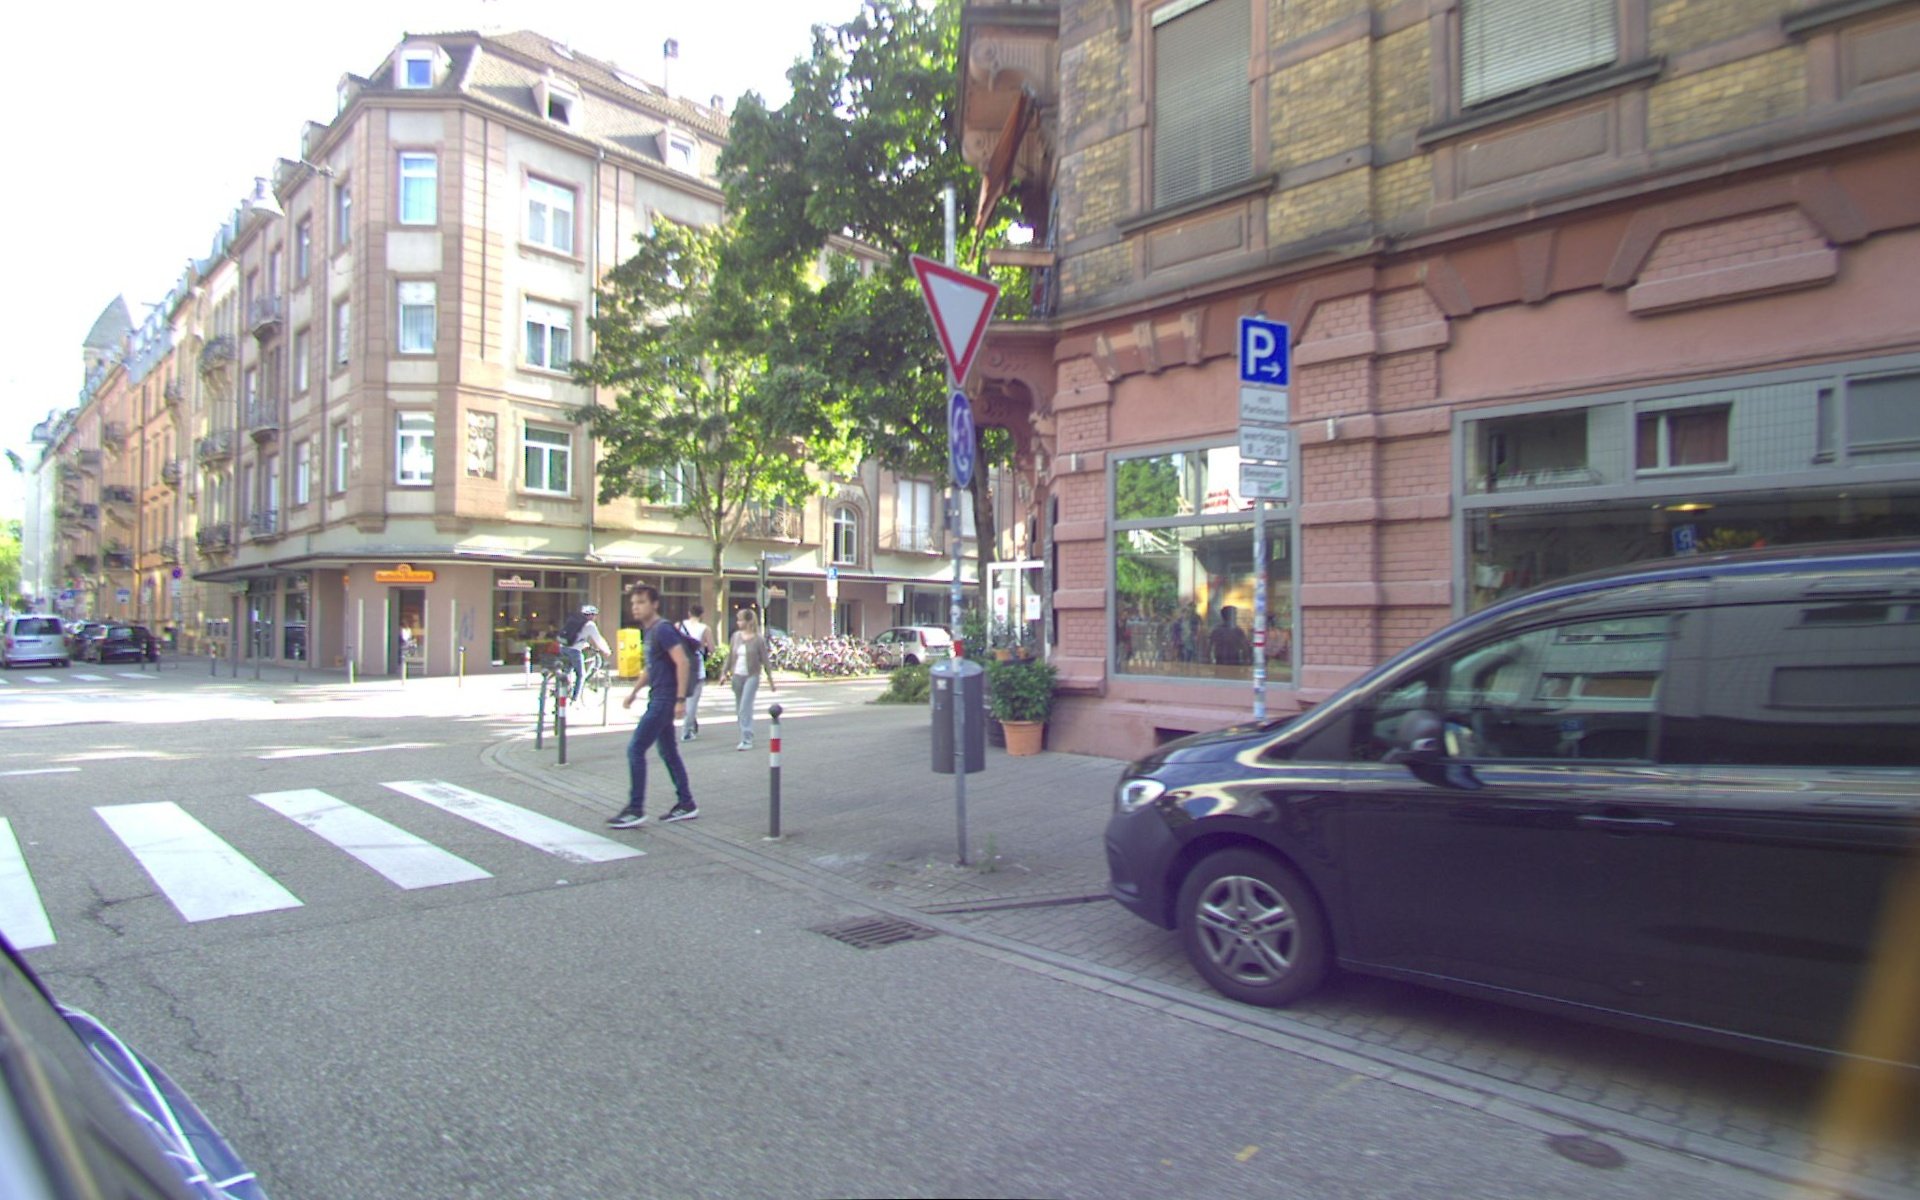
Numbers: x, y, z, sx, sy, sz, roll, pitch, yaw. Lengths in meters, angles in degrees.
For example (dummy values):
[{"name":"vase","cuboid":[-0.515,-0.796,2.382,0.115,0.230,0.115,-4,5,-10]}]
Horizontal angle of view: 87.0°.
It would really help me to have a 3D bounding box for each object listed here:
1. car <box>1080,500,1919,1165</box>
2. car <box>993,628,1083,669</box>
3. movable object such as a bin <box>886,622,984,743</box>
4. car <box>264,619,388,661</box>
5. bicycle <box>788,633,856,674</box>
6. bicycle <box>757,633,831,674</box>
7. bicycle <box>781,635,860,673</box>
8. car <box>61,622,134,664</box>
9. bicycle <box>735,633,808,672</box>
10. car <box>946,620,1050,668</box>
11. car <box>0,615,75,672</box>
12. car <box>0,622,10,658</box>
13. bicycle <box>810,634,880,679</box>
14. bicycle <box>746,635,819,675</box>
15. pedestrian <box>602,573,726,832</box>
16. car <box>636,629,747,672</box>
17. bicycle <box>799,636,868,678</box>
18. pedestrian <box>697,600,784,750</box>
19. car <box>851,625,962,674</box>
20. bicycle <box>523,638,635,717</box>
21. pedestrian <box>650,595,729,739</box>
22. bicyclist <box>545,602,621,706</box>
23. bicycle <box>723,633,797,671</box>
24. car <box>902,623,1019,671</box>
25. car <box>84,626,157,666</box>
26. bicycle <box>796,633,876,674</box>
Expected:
[{"name":"car","cuboid":[2.769,0.624,3.714,4.405,1.787,1.741,-2,0,42]},{"name":"car","cuboid":[2.935,1.835,38.577,3.340,1.454,1.357,-2,-1,45]},{"name":"movable object such as a bin","cuboid":[-0.157,0.503,6.389,0.475,0.719,0.379,-2,-1,39]},{"name":"car","cuboid":[-26.521,1.647,42.412,1.995,1.633,3.953,-2,-1,35]},{"name":"bicycle","cuboid":[-4.026,1.540,29.657,0.478,1.143,2.233,-1,-2,41]},{"name":"bicycle","cuboid":[-4.900,1.566,30.036,0.478,1.143,2.398,-1,-2,41]},{"name":"bicycle","cuboid":[-4.206,1.626,30.734,0.708,1.110,2.477,-3,-4,43]},{"name":"car","cuboid":[-35.150,1.702,41.210,4.400,1.596,1.836,-1,-1,44]},{"name":"bicycle","cuboid":[-5.692,1.563,30.739,0.478,1.143,2.398,-1,-2,41]},{"name":"car","cuboid":[1.338,1.578,36.854,3.700,1.608,1.554,-2,-1,45]},{"name":"car","cuboid":[-32.135,1.508,34.992,4.330,1.804,1.809,-3,-1,42]},{"name":"car","cuboid":[-46.129,1.929,47.576,1.971,1.647,4.846,2,-4,-45]},{"name":"bicycle","cuboid":[-3.262,1.603,28.950,0.478,1.234,2.262,-1,-2,41]},{"name":"bicycle","cuboid":[-5.291,1.638,30.380,0.478,1.143,2.398,-1,-2,41]},{"name":"pedestrian","cuboid":[-2.254,0.725,7.706,0.843,1.854,0.681,-1,1,-18]},{"name":"car","cuboid":[-9.824,1.827,37.002,3.990,1.441,1.746,-2,-1,34]},{"name":"bicycle","cuboid":[-3.630,1.623,29.297,0.478,1.166,2.260,-1,-2,41]},{"name":"pedestrian","cuboid":[-2.440,0.820,11.299,0.609,1.590,0.807,-4,-2,12]},{"name":"car","cuboid":[-1.814,1.597,33.261,3.700,1.488,1.554,-2,-1,45]},{"name":"bicycle","cuboid":[-6.397,1.271,17.137,0.696,1.229,2.107,0,-2,13]},{"name":"pedestrian","cuboid":[-3.285,0.791,12.394,0.792,1.683,1.024,0,-1,-6]},{"name":"bicyclist","cuboid":[-6.381,0.900,17.179,0.696,1.690,1.107,0,-2,13]},{"name":"bicycle","cuboid":[-6.124,1.581,31.118,0.579,1.143,2.398,-1,-2,41]},{"name":"car","cuboid":[-0.032,1.578,34.671,4.076,1.488,1.554,-2,-1,45]},{"name":"car","cuboid":[-31.447,1.700,37.892,3.830,1.379,1.700,-2,-1,44]},{"name":"bicycle","cuboid":[-3.677,1.579,30.208,0.651,1.110,2.477,-3,-2,44]}]
